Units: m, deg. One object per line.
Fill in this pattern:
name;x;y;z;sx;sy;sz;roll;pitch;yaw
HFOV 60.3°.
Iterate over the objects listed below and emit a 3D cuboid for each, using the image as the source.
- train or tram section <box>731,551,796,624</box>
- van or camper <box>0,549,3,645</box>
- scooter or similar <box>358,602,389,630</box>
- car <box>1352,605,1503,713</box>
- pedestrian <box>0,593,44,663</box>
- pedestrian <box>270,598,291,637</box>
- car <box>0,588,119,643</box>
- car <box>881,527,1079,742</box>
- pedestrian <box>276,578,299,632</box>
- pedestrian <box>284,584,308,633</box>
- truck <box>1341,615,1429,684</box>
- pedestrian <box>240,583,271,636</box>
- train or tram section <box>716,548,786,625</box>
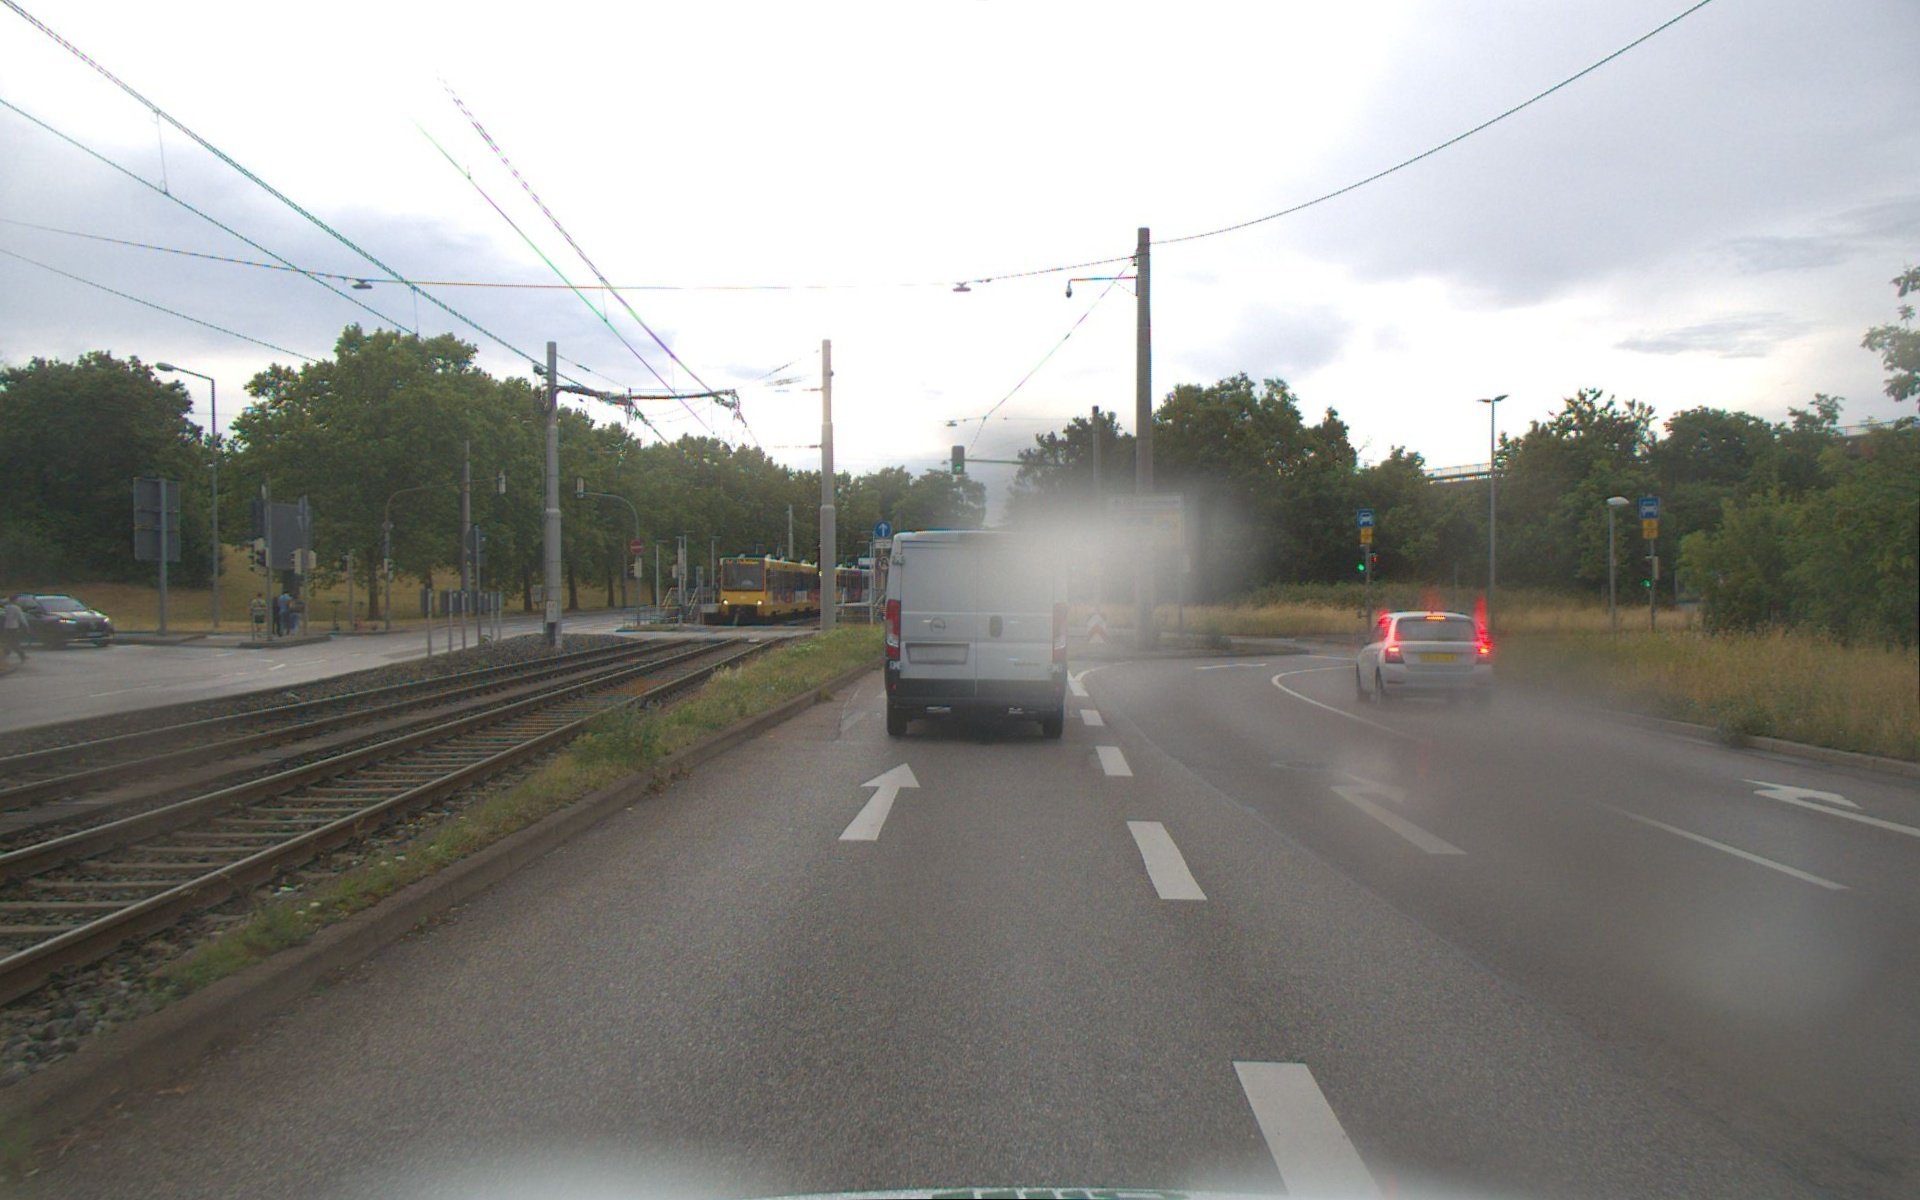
train or tram section;-11.483;-0.720;97.269;2.869;4.001;7.004;2;0;0
van or camper;-33.744;-0.105;52.791;7.218;3.018;2.485;1;1;32
scooter or similar;-26.137;0.705;73.704;0.374;1.182;1.272;0;1;42
car;7.154;0.844;25.611;1.709;1.483;3.674;1;0;7
pedestrian;-25.923;0.771;45.646;0.622;1.900;0.952;-1;0;29
pedestrian;-26.446;0.666;64.395;0.485;1.499;0.722;2;0;0
car;-30.694;0.477;55.887;4.532;1.763;1.996;1;1;31
car;0.121;0.342;20.049;2.048;2.234;5.059;1;0;-2
pedestrian;-25.457;0.191;62.590;0.485;1.989;0.722;2;0;2
pedestrian;-25.049;0.327;62.422;0.496;1.818;0.832;2;0;2
truck;12.515;1.407;48.576;1.953;1.822;4.414;-1;0;22
pedestrian;-27.247;0.365;63.964;0.870;2.049;0.864;0;0;-7
train or tram section;-11.433;-0.715;90.908;2.869;4.001;7.004;2;0;0
